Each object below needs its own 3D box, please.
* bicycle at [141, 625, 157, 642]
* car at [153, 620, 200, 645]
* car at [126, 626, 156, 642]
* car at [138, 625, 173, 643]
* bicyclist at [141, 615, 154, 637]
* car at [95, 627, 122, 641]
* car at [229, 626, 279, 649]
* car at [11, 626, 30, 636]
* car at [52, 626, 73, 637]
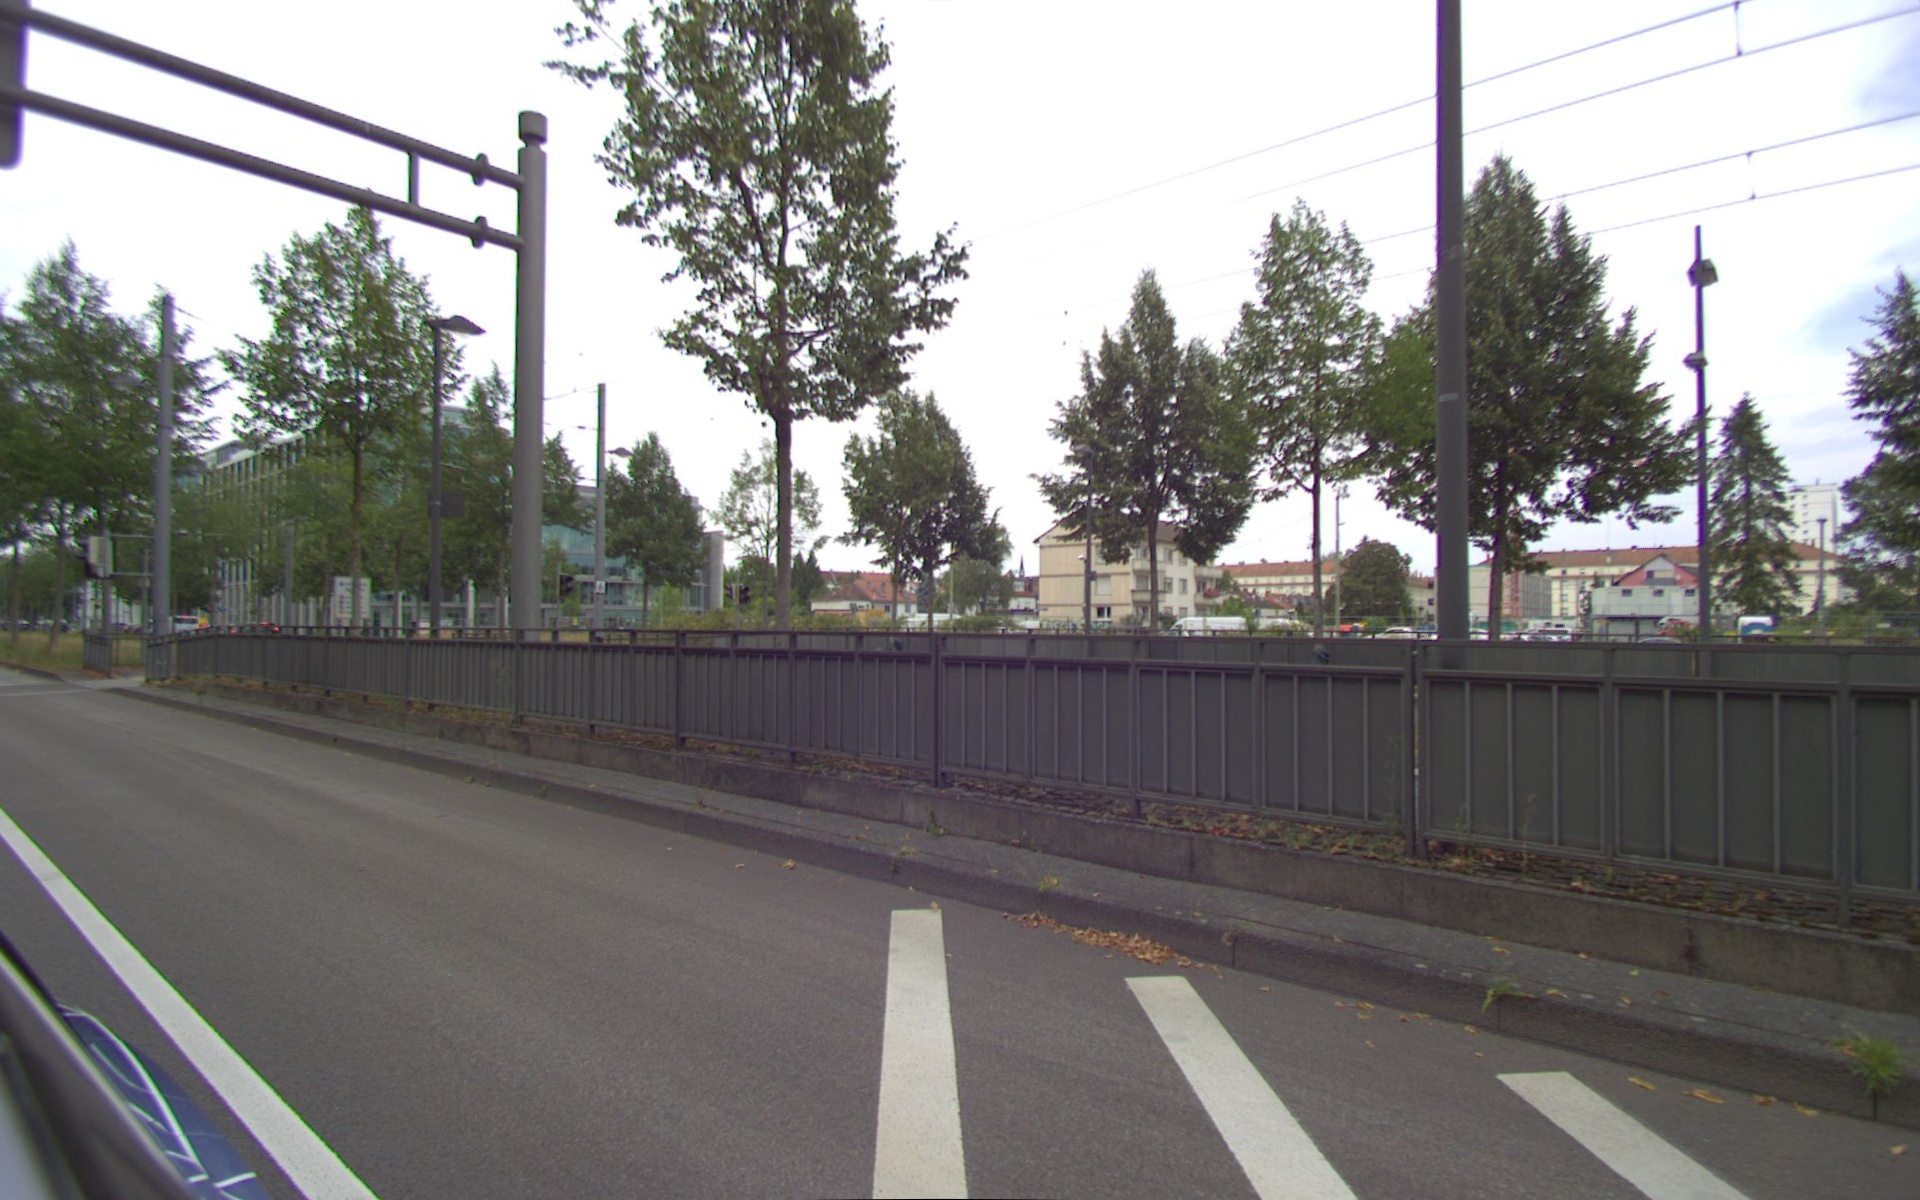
[{"bbox_3d":[-74.473,3.063,92.897,2.355,1.499,0.702,-2,-1,40],"label":"bicycle"},{"bbox_3d":[-62.570,2.560,80.799,5.093,1.959,1.973,-1,-2,41],"label":"car"},{"bbox_3d":[-77.663,3.188,95.923,3.865,1.468,1.729,-1,-2,43],"label":"car"},{"bbox_3d":[-70.320,2.974,88.450,3.863,1.508,1.730,-2,-1,41],"label":"car"},{"bbox_3d":[-74.883,2.413,93.245,0.994,2.029,0.733,-1,0,39],"label":"bicyclist"},{"bbox_3d":[-93.306,3.718,110.872,3.864,1.468,1.729,-1,-2,42],"label":"car"},{"bbox_3d":[-52.597,2.751,75.390,4.687,1.669,1.809,-1,-2,39],"label":"car"},{"bbox_3d":[-139.206,4.573,149.964,3.864,1.468,1.729,-1,-2,42],"label":"car"},{"bbox_3d":[-121.698,4.328,137.235,3.864,1.468,1.729,-1,-2,42],"label":"car"}]
